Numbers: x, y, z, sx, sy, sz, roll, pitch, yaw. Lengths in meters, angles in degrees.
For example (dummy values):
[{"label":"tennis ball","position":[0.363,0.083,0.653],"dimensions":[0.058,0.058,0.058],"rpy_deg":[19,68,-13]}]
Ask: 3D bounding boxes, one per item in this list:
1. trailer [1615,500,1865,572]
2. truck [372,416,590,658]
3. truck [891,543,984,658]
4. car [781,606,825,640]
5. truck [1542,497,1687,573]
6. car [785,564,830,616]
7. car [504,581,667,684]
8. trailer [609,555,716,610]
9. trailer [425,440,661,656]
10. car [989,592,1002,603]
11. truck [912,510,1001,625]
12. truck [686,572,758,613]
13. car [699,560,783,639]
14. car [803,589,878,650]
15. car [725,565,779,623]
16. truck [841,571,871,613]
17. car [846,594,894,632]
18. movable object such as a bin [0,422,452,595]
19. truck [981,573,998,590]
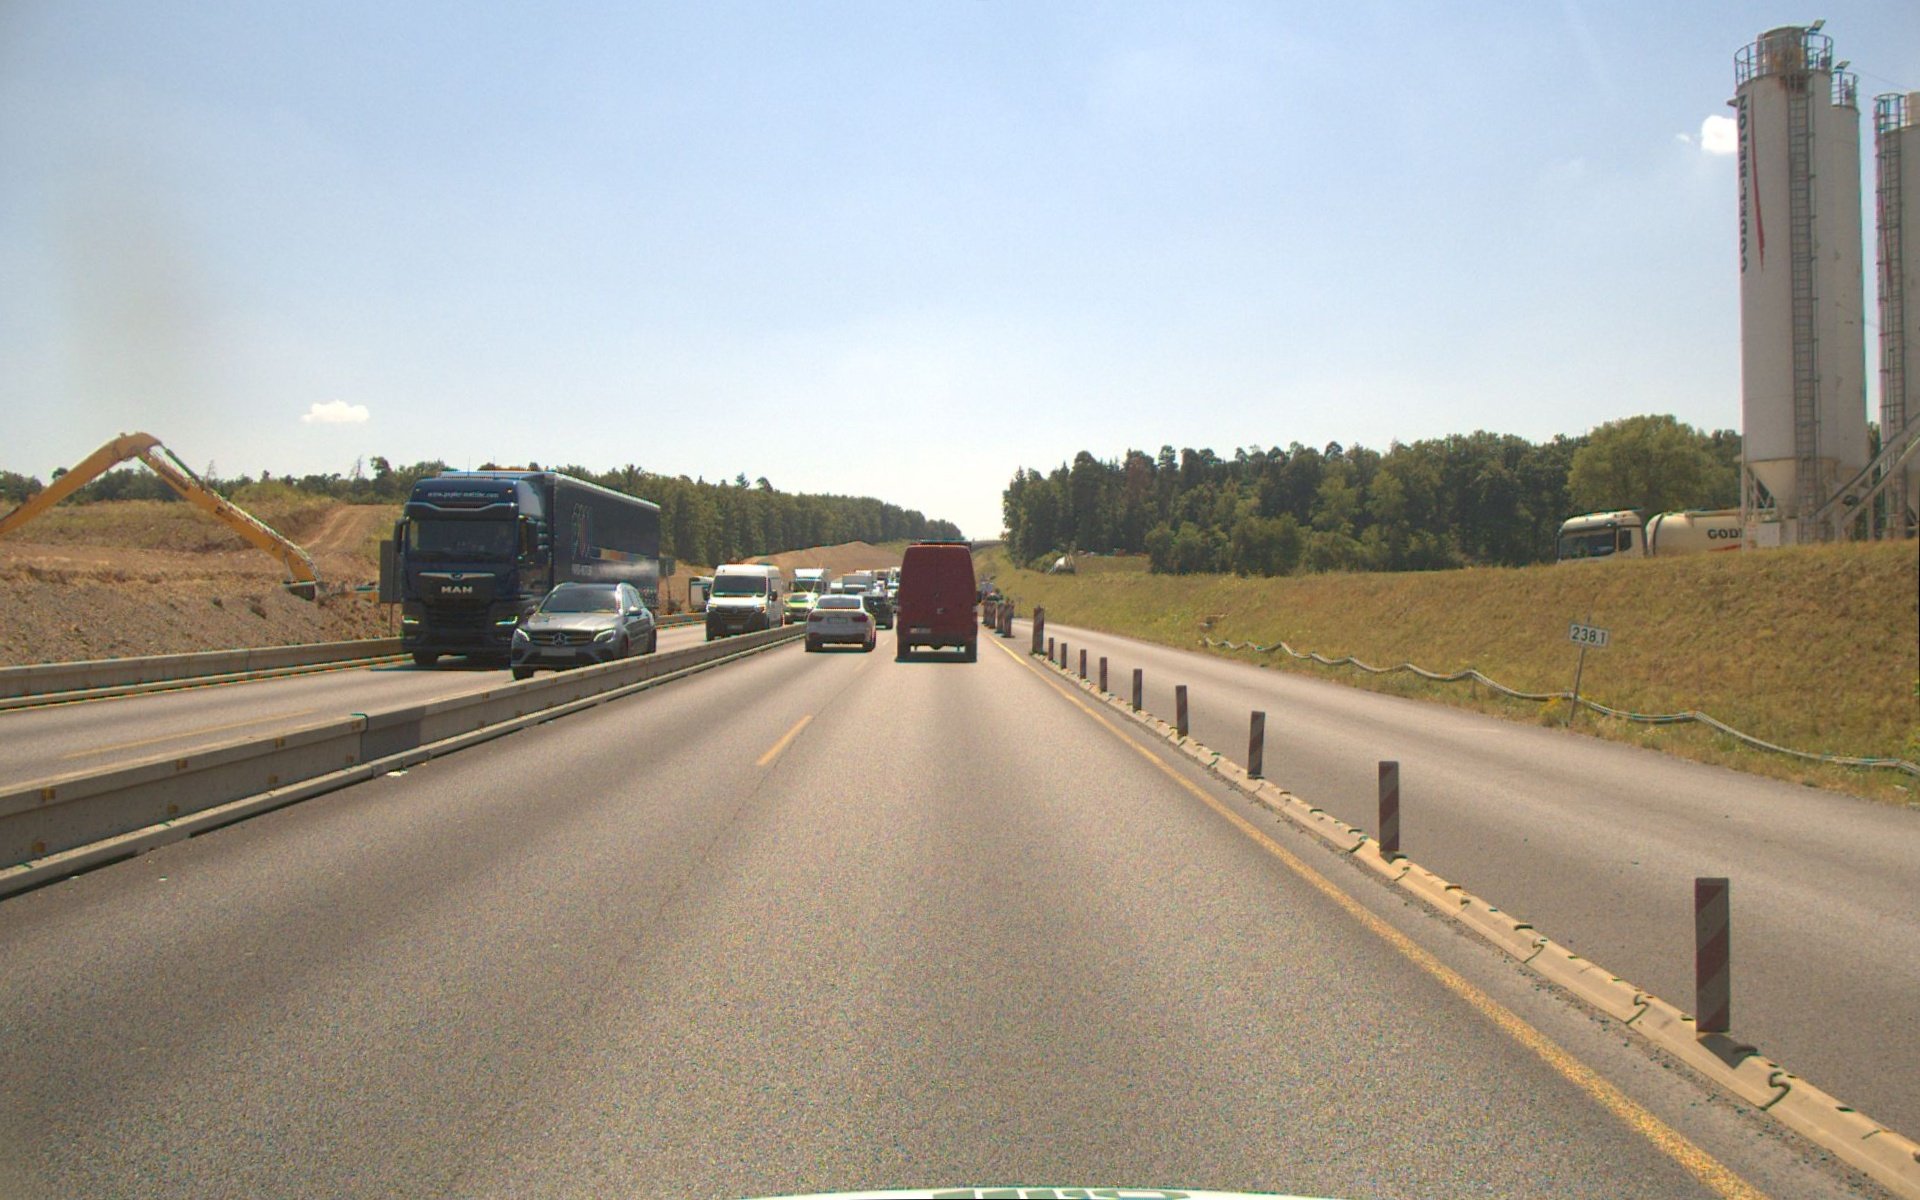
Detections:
[{"label":"trailer","position":[30.114,-2.428,64.018],"dimensions":[8.720,2.652,2.462],"rpy_deg":[0,0,-5]},{"label":"truck","position":[-10.171,-1.232,35.862],"dimensions":[2.905,4.733,6.242],"rpy_deg":[1,0,-1]},{"label":"truck","position":[-0.557,0.020,40.868],"dimensions":[2.109,2.635,5.332],"rpy_deg":[1,0,-1]},{"label":"car","position":[-7.761,1.115,82.174],"dimensions":[1.726,1.601,4.362],"rpy_deg":[1,0,0]},{"label":"truck","position":[24.807,-2.391,62.596],"dimensions":[5.253,2.589,2.866],"rpy_deg":[1,0,-38]},{"label":"car","position":[-11.806,-0.794,128.844],"dimensions":[2.849,3.805,8.089],"rpy_deg":[1,1,-1]},{"label":"car","position":[-6.559,0.537,29.521],"dimensions":[1.830,1.658,4.884],"rpy_deg":[1,0,-1]},{"label":"trailer","position":[-23.605,-1.390,131.080],"dimensions":[8.178,4.170,2.797],"rpy_deg":[1,0,26]},{"label":"trailer","position":[-10.310,-1.107,42.698],"dimensions":[2.925,4.676,12.881],"rpy_deg":[1,0,-1]},{"label":"car","position":[4.992,-0.380,230.993],"dimensions":[1.620,1.451,4.545],"rpy_deg":[-2,1,0]},{"label":"truck","position":[-0.296,-1.550,89.792],"dimensions":[4.311,5.592,16.599],"rpy_deg":[1,0,-1]},{"label":"truck","position":[-18.755,-0.578,130.313],"dimensions":[4.982,3.016,2.566],"rpy_deg":[2,-1,-26]},{"label":"car","position":[-7.083,-0.056,54.106],"dimensions":[1.994,2.384,6.195],"rpy_deg":[1,1,-1]},{"label":"car","position":[-3.212,0.517,45.221],"dimensions":[1.794,1.548,3.960],"rpy_deg":[1,0,-1]},{"label":"car","position":[-11.129,-0.300,88.696],"dimensions":[2.206,3.007,5.847],"rpy_deg":[1,0,-1]},{"label":"truck","position":[-8.260,-0.635,131.525],"dimensions":[2.226,3.205,7.308],"rpy_deg":[1,0,-3]},{"label":"car","position":[-3.926,0.545,73.037],"dimensions":[1.927,1.568,4.310],"rpy_deg":[1,1,-1]},{"label":"movable object such as a bin","position":[-31.229,-3.811,70.638],"dimensions":[17.851,6.891,3.387],"rpy_deg":[1,-1,-1]},{"label":"truck","position":[4.461,-2.755,248.962],"dimensions":[2.084,2.499,5.930],"rpy_deg":[1,1,6]}]
